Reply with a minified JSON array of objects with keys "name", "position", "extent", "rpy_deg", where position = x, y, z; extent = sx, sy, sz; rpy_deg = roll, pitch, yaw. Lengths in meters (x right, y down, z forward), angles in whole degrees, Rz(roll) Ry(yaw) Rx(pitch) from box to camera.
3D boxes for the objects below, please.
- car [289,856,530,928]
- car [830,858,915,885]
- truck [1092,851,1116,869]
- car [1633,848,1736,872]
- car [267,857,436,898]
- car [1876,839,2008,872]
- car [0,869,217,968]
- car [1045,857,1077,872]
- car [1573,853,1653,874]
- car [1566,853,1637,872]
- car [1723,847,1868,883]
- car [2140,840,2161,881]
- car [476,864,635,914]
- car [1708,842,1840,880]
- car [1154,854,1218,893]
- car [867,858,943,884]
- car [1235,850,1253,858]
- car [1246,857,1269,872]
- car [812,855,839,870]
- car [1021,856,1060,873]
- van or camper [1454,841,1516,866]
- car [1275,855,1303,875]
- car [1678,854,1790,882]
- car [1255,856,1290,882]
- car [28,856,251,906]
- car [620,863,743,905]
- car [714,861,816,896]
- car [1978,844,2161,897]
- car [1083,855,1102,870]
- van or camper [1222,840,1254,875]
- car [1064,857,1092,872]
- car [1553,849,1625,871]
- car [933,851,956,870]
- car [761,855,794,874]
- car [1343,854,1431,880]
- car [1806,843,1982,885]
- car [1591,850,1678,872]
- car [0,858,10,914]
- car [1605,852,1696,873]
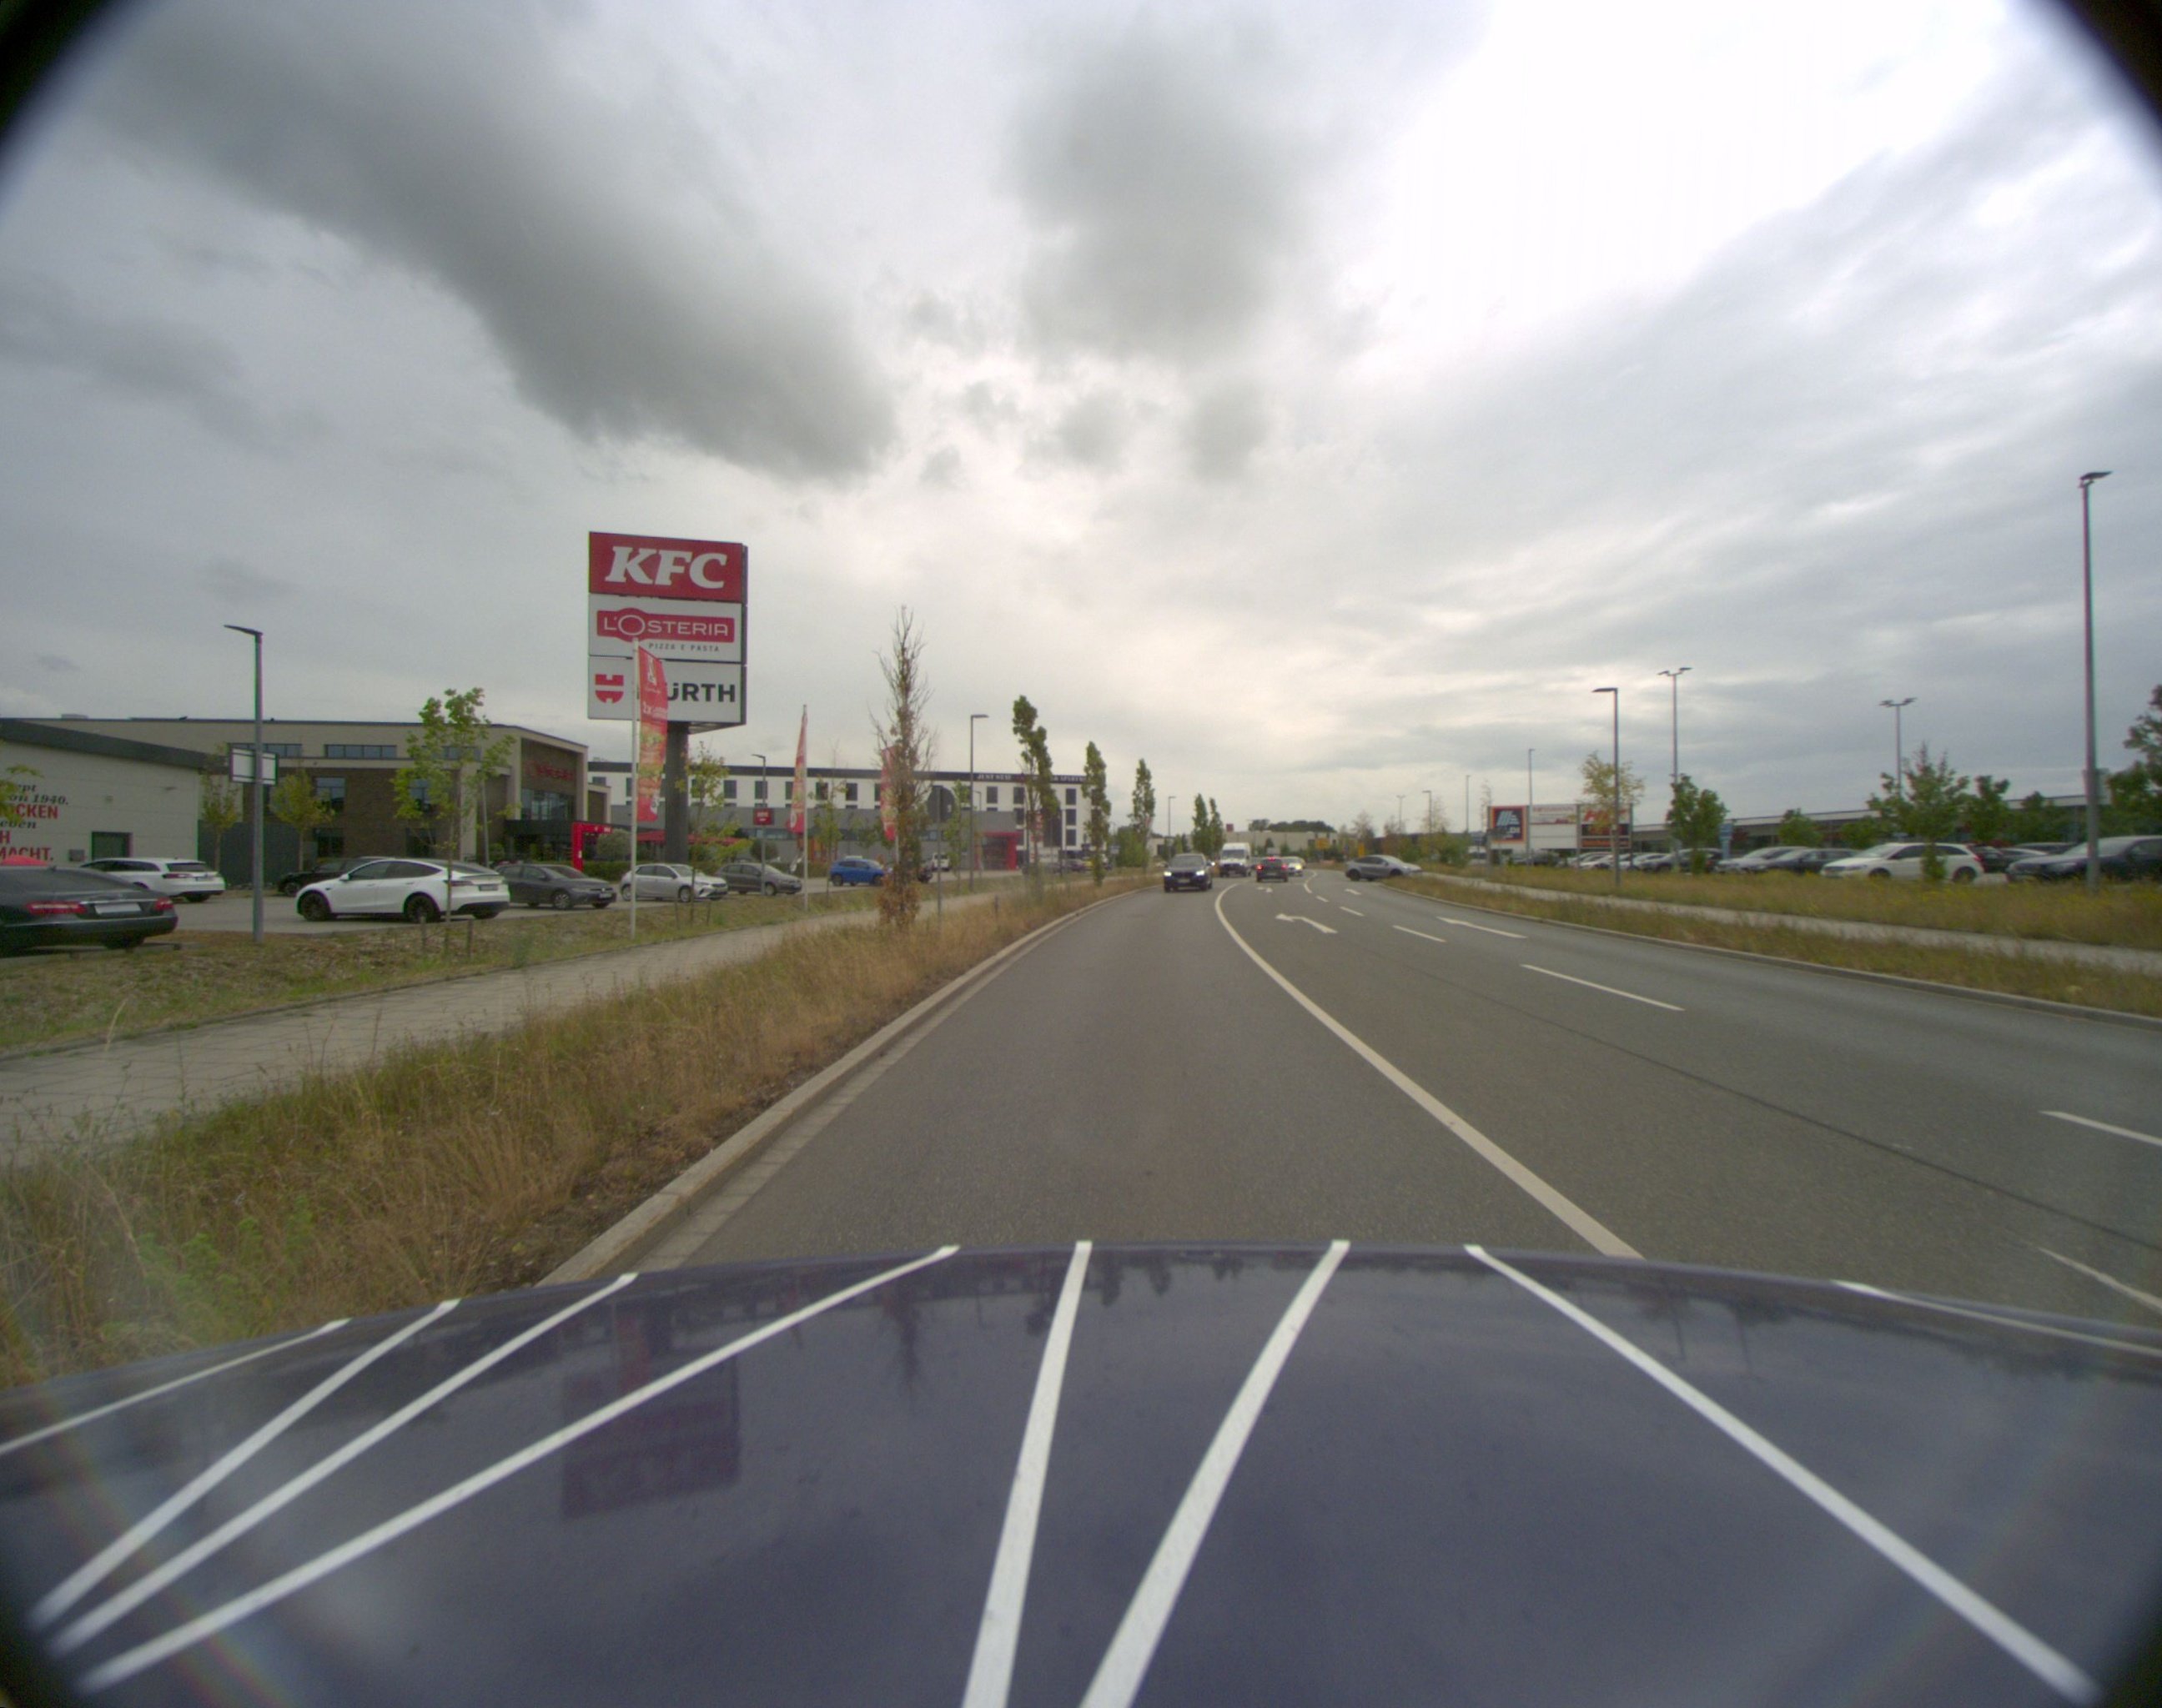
[{"name":"car","position":[-17.117,0.920,19.497],"extent":[4.570,1.635,2.090],"rpy_deg":[1,0,7]},{"name":"car","position":[-11.926,0.988,43.477],"extent":[4.267,1.511,1.968],"rpy_deg":[0,0,16]},{"name":"truck","position":[3.116,0.757,101.251],"extent":[2.230,2.312,8.221],"rpy_deg":[0,0,9]},{"name":"car","position":[36.094,0.387,45.613],"extent":[4.362,1.383,2.168],"rpy_deg":[0,0,19]},{"name":"car","position":[-28.574,0.920,29.910],"extent":[4.575,1.510,1.976],"rpy_deg":[1,0,-5]},{"name":"car","position":[47.511,0.068,42.088],"extent":[1.999,1.736,4.582],"rpy_deg":[0,0,-4]},{"name":"car","position":[-17.539,0.983,12.452],"extent":[4.528,1.460,2.032],"rpy_deg":[0,0,2]},{"name":"car","position":[-1.864,1.002,72.421],"extent":[1.866,1.428,4.885],"rpy_deg":[0,0,13]},{"name":"car","position":[38.806,0.697,55.541],"extent":[4.324,1.448,2.013],"rpy_deg":[0,0,16]},{"name":"car","position":[39.610,0.638,57.893],"extent":[4.089,1.383,2.003],"rpy_deg":[0,0,18]},{"name":"car","position":[31.848,0.480,34.027],"extent":[4.247,1.504,2.049],"rpy_deg":[-1,0,17]},{"name":"car","position":[43.419,0.248,28.409],"extent":[1.999,1.597,3.998],"rpy_deg":[0,0,-5]},{"name":"car","position":[-16.945,1.088,24.582],"extent":[3.993,1.476,1.942],"rpy_deg":[0,1,10]},{"name":"car","position":[33.112,0.348,36.448],"extent":[4.248,1.713,2.030],"rpy_deg":[-1,0,13]},{"name":"car","position":[4.802,0.844,34.166],"extent":[1.995,1.654,4.006],"rpy_deg":[-1,-1,20]},{"name":"car","position":[-10.584,1.000,45.781],"extent":[3.991,1.485,1.984],"rpy_deg":[0,0,19]},{"name":"car","position":[39.119,-0.009,182.737],"extent":[4.004,2.002,1.640],"rpy_deg":[-1,0,-22]},{"name":"car","position":[18.972,1.091,81.741],"extent":[1.756,1.575,4.001],"rpy_deg":[-1,0,3]},{"name":"car","position":[-26.585,0.828,79.108],"extent":[2.081,1.510,4.571],"rpy_deg":[1,0,-11]},{"name":"car","position":[-3.508,0.948,67.004],"extent":[1.964,1.451,4.838],"rpy_deg":[0,0,16]},{"name":"van or camper","position":[46.389,-0.060,87.429],"extent":[5.863,2.783,2.244],"rpy_deg":[0,1,8]},{"name":"car","position":[15.699,0.802,57.241],"extent":[1.882,1.460,4.198],"rpy_deg":[0,0,17]},{"name":"car","position":[35.045,0.742,40.909],"extent":[4.222,1.429,1.777],"rpy_deg":[0,1,15]},{"name":"car","position":[11.101,0.859,43.961],"extent":[1.832,1.412,4.251],"rpy_deg":[-1,0,15]},{"name":"car","position":[-30.761,0.858,24.971],"extent":[4.574,1.510,2.080],"rpy_deg":[1,0,-3]},{"name":"car","position":[-15.341,1.115,29.260],"extent":[3.867,1.473,1.904],"rpy_deg":[1,0,12]},{"name":"car","position":[-14.073,1.079,33.911],"extent":[3.763,1.485,1.892],"rpy_deg":[0,0,14]},{"name":"car","position":[28.875,0.465,21.475],"extent":[4.239,1.426,2.000],"rpy_deg":[0,0,11]},{"name":"car","position":[1.292,0.961,84.793],"extent":[1.766,1.676,4.413],"rpy_deg":[0,0,5]},{"name":"van or camper","position":[12.169,0.279,58.717],"extent":[2.261,2.601,5.703],"rpy_deg":[0,0,13]},{"name":"car","position":[-0.309,1.046,78.532],"extent":[1.997,1.488,4.612],"rpy_deg":[0,1,12]},{"name":"car","position":[40.294,0.485,60.355],"extent":[4.306,1.645,2.083],"rpy_deg":[0,0,15]},{"name":"car","position":[-14.660,0.664,81.323],"extent":[2.001,1.975,4.630],"rpy_deg":[0,0,-15]},{"name":"car","position":[-26.785,0.931,67.120],"extent":[1.986,1.619,4.323],"rpy_deg":[0,0,-12]},{"name":"car","position":[18.758,0.788,46.714],"extent":[2.004,1.552,4.600],"rpy_deg":[0,0,-39]},{"name":"car","position":[30.720,0.379,28.847],"extent":[4.255,1.550,1.990],"rpy_deg":[0,0,8]},{"name":"car","position":[37.995,0.491,52.300],"extent":[4.370,1.496,2.243],"rpy_deg":[0,0,17]},{"name":"car","position":[-31.379,0.852,19.573],"extent":[4.376,1.510,2.046],"rpy_deg":[1,0,-5]},{"name":"car","position":[37.012,0.547,49.511],"extent":[4.319,1.332,2.029],"rpy_deg":[0,0,14]}]
